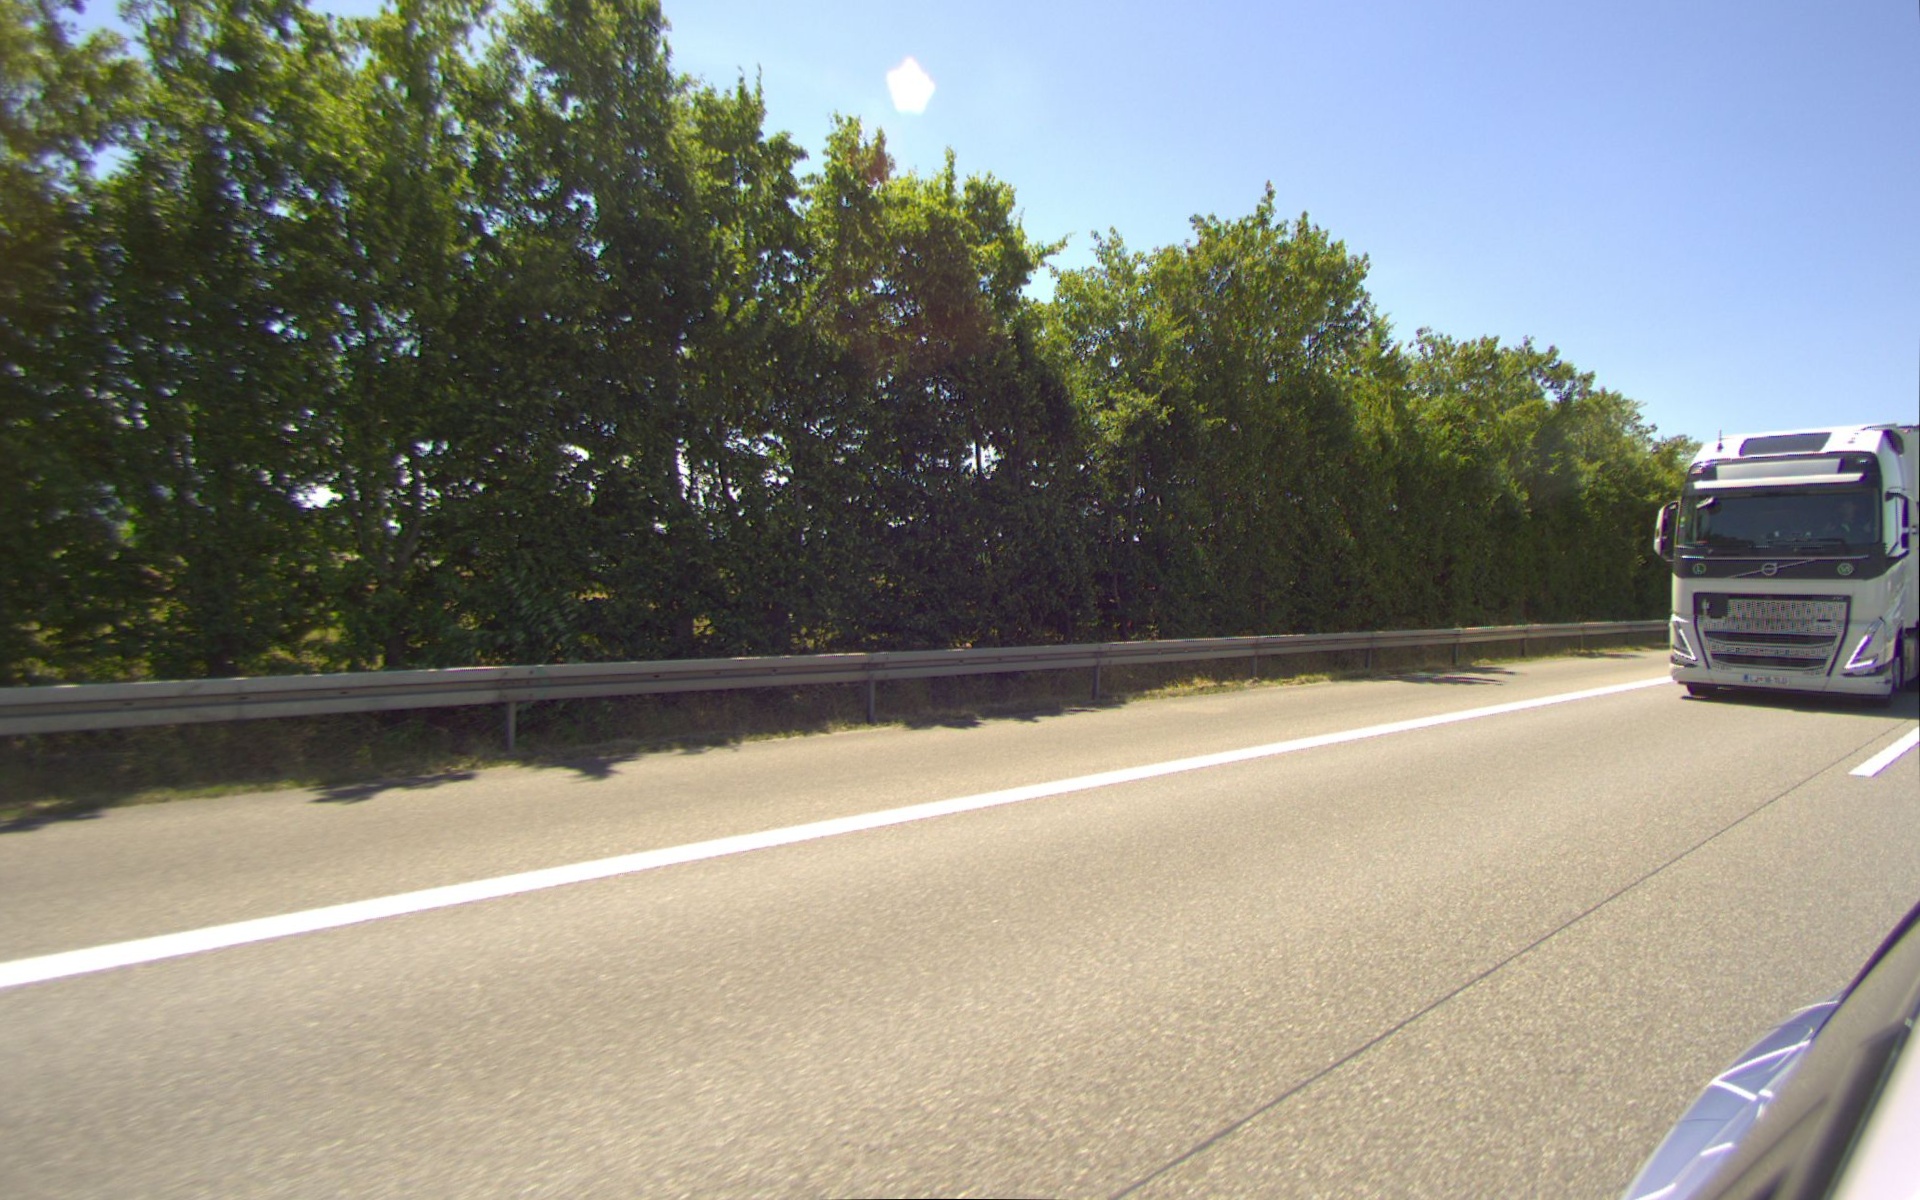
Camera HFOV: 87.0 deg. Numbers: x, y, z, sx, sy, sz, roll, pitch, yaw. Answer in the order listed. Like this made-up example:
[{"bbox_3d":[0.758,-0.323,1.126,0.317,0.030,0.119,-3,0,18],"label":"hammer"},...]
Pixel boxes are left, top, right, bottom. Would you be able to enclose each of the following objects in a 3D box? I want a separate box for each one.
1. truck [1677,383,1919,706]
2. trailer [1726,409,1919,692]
[{"bbox_3d":[13.606,-0.731,15.834,6.209,4.113,2.474,0,0,-41],"label":"truck"},{"bbox_3d":[18.433,-0.776,20.007,13.637,4.113,2.474,-1,0,-41],"label":"trailer"}]
